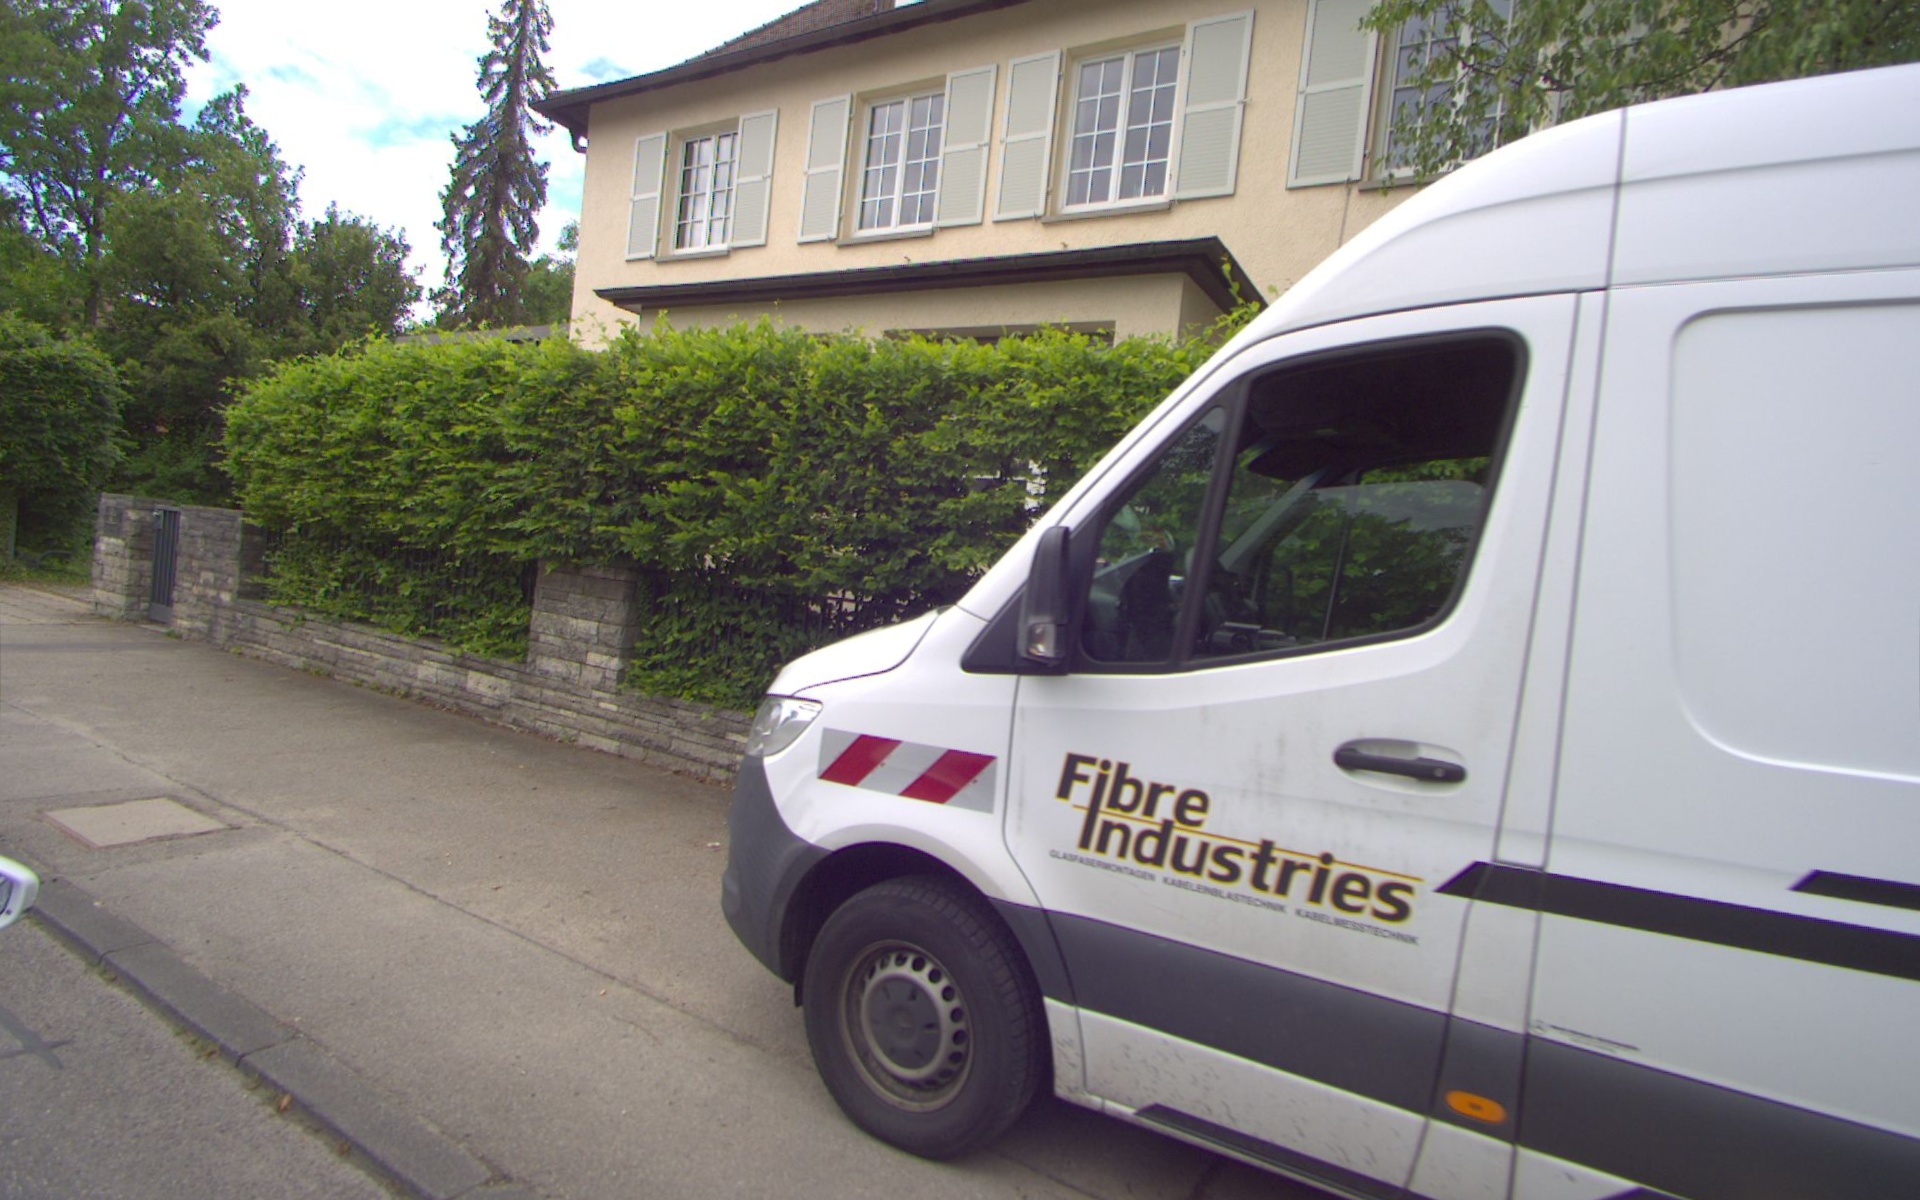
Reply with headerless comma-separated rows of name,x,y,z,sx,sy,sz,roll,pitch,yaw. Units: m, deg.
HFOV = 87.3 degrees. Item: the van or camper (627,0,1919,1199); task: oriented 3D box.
van or camper,2.481,0.381,2.281,6.491,2.529,2.340,5,3,30
